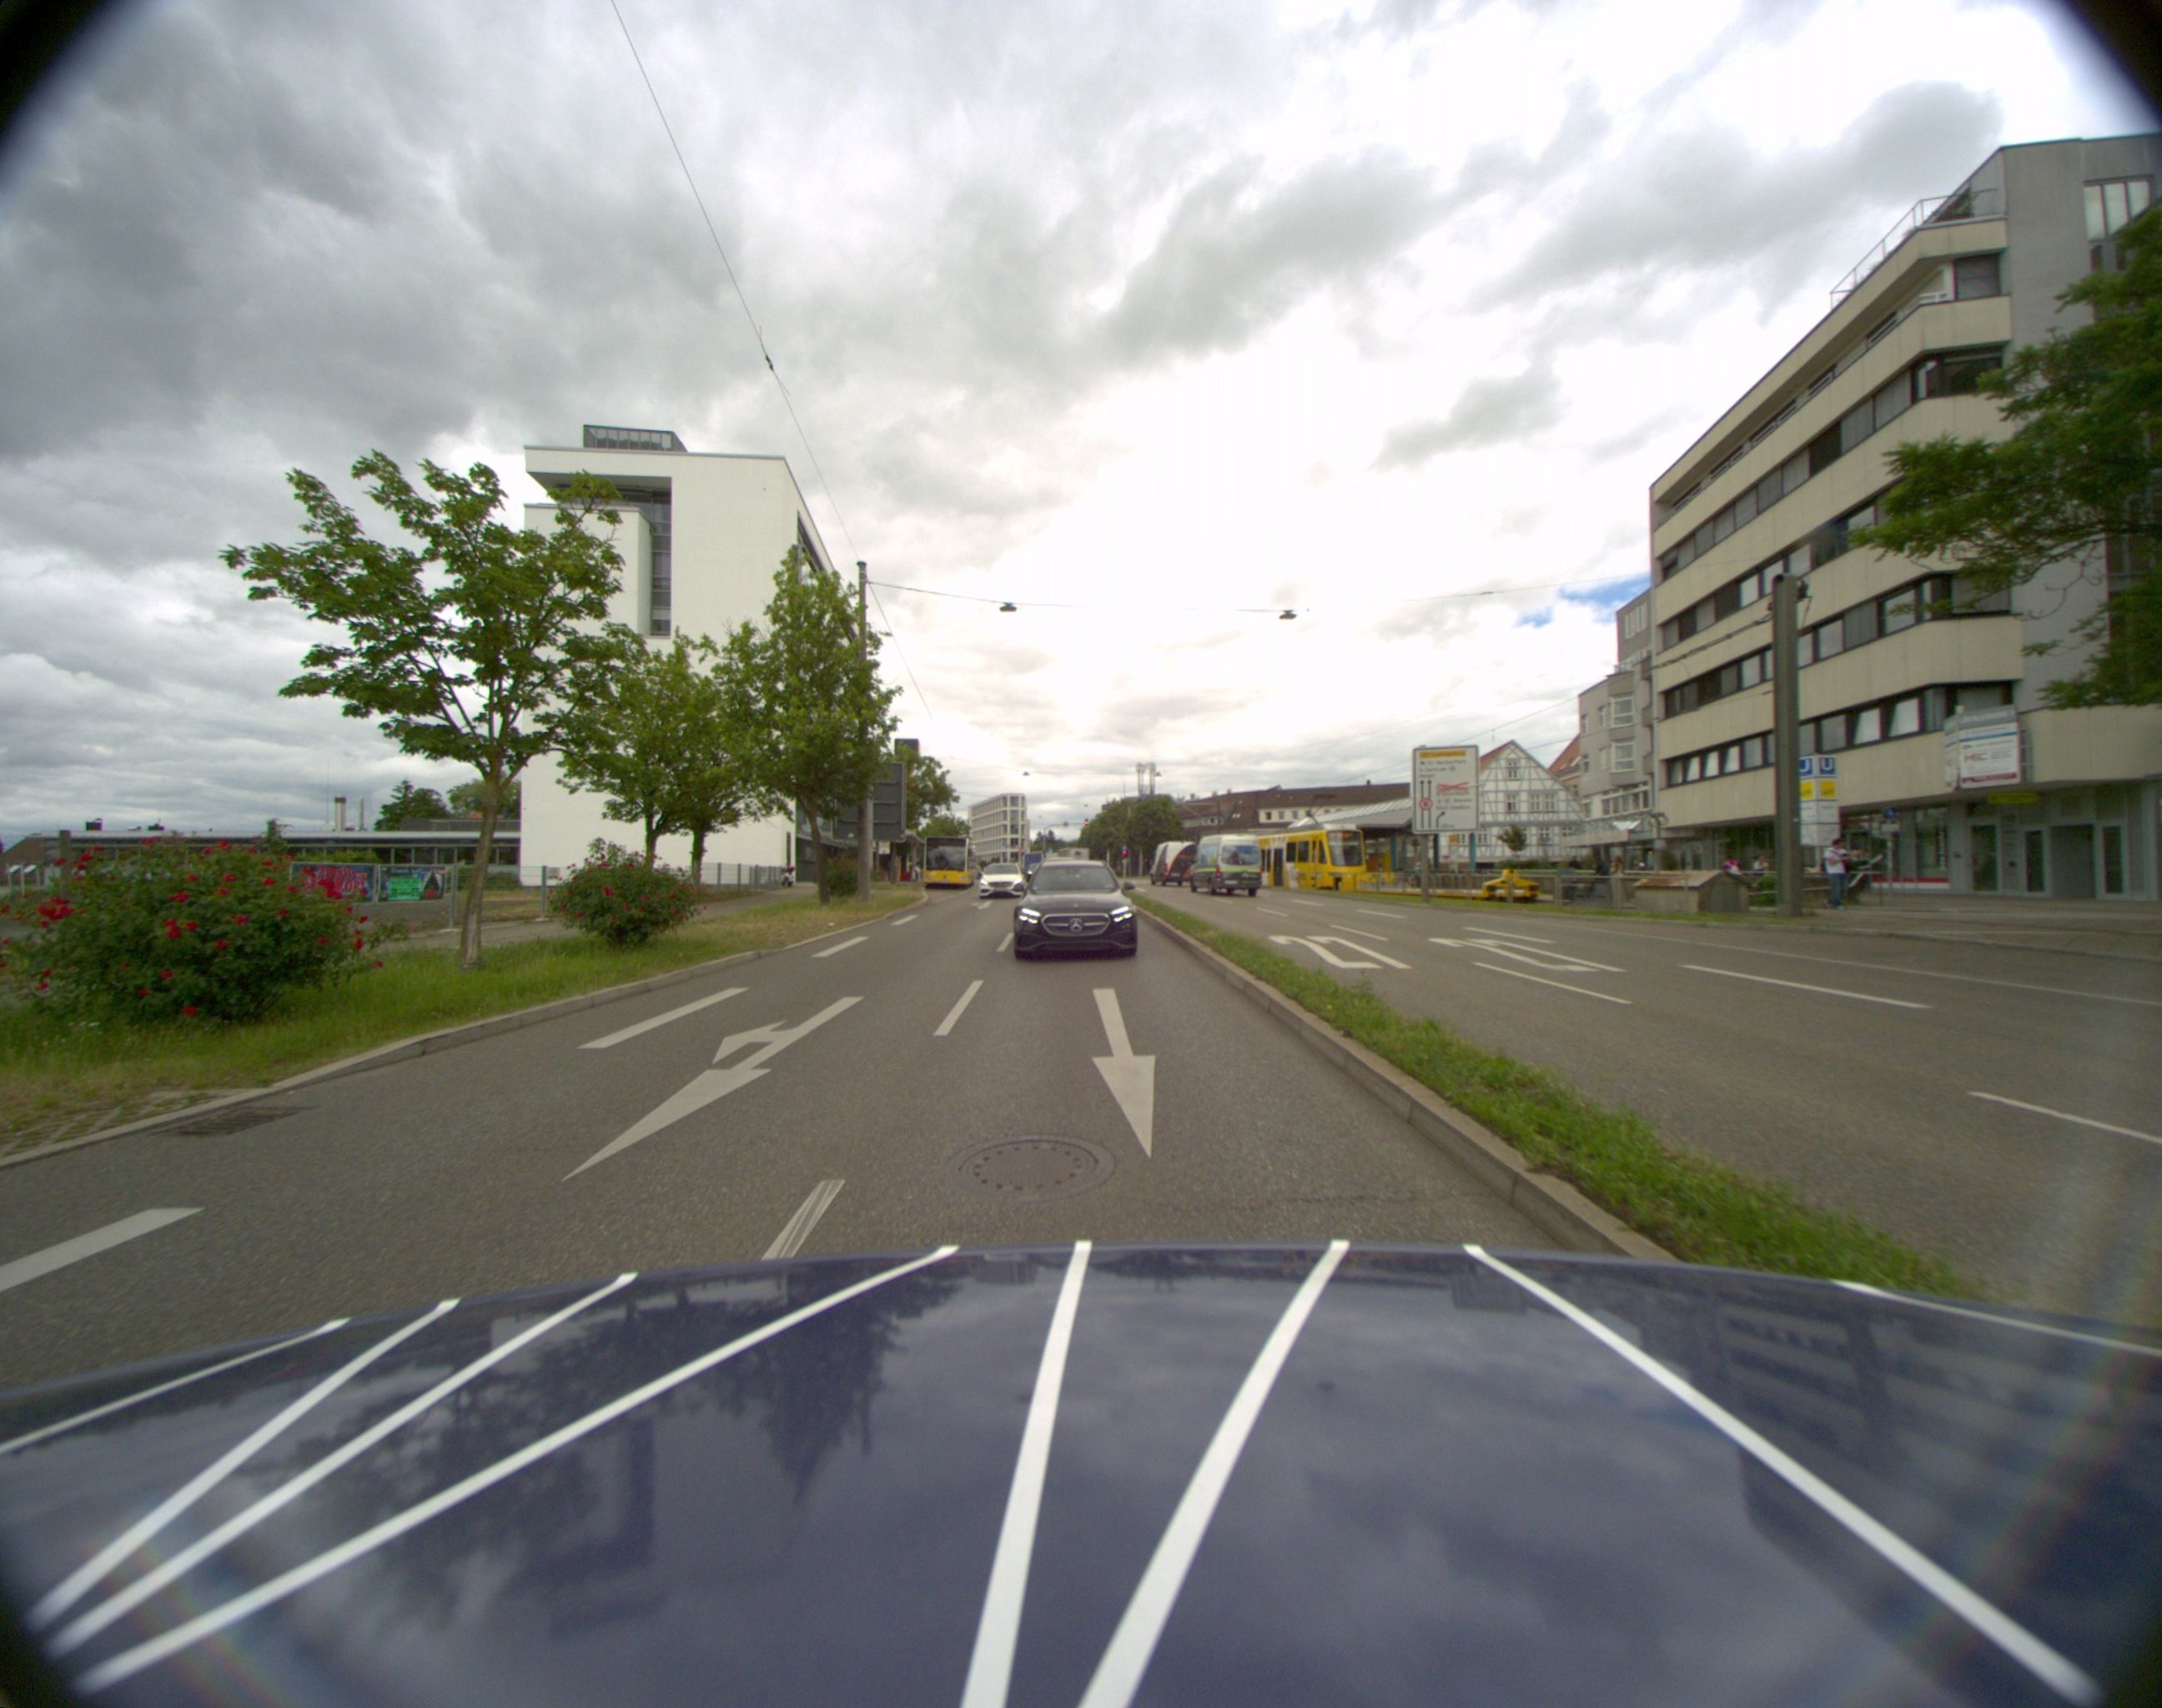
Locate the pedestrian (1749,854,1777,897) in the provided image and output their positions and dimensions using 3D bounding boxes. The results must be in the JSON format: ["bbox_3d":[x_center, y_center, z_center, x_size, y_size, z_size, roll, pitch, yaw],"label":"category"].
[{"bbox_3d":[26.924,0.830,29.995,0.550,1.690,0.628,0,0,-5],"label":"pedestrian"}]

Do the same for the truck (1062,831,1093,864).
[{"bbox_3d":[-0.519,-0.729,97.037,2.947,3.934,9.160,0,-1,-7],"label":"truck"}]

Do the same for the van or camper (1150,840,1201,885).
[{"bbox_3d":[5.730,0.498,46.815,1.999,2.583,6.114,1,0,-3],"label":"van or camper"}]

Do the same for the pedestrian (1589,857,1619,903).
[{"bbox_3d":[17.923,0.876,26.035,0.600,1.564,0.620,0,0,-5],"label":"pedestrian"}]

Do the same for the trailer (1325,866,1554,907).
[{"bbox_3d":[14.469,1.226,32.508,2.850,1.325,12.119,0,0,-7],"label":"trailer"}]

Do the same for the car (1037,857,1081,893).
[{"bbox_3d":[-1.063,1.043,39.008,1.734,1.680,4.370,-1,0,5],"label":"car"}]

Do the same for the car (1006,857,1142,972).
[{"bbox_3d":[-0.136,0.894,13.322,1.872,1.542,4.773,-3,-1,-1],"label":"car"}]

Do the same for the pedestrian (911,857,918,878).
[{"bbox_3d":[-13.813,1.120,62.899,0.510,1.725,0.572,-1,0,-8],"label":"pedestrian"}]

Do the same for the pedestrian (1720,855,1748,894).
[{"bbox_3d":[28.569,0.888,33.229,0.693,1.690,0.628,0,0,-5],"label":"pedestrian"}]

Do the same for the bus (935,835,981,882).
[{"bbox_3d":[-9.013,0.347,56.691,3.045,3.216,9.332,0,0,-7],"label":"bus"}]

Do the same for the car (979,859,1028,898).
[{"bbox_3d":[-3.363,1.007,32.514,1.873,1.496,4.770,-2,-1,-7],"label":"car"}]

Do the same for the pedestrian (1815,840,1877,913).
[{"bbox_3d":[20.093,0.584,19.983,0.746,1.866,0.873,0,0,-3],"label":"pedestrian"}]

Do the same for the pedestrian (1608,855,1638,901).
[{"bbox_3d":[18.669,0.816,26.182,0.600,1.564,0.620,0,0,-5],"label":"pedestrian"}]

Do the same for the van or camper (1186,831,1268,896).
[{"bbox_3d":[6.348,0.405,33.868,2.038,2.583,6.114,1,0,-4],"label":"van or camper"}]

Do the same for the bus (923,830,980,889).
[{"bbox_3d":[-7.860,0.324,47.255,2.992,3.222,9.859,0,0,-7],"label":"bus"}]

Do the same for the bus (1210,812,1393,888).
[{"bbox_3d":[12.854,-0.146,48.220,3.889,3.836,19.330,0,0,-7],"label":"bus"}]

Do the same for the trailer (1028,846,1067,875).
[{"bbox_3d":[-5.386,1.159,118.049,3.114,4.243,14.831,0,-1,-14],"label":"trailer"}]

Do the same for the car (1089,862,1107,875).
[{"bbox_3d":[1.870,1.630,84.820,1.510,1.337,3.947,1,-1,-4],"label":"car"}]

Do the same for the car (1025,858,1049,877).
[{"bbox_3d":[-3.622,1.108,63.242,1.735,1.474,4.368,-1,0,0],"label":"car"}]

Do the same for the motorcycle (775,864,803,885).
[{"bbox_3d":[-15.222,1.062,39.556,0.826,1.108,1.737,0,-1,-40],"label":"motorcycle"}]

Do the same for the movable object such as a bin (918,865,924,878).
[{"bbox_3d":[-13.414,1.467,63.564,0.421,1.023,0.532,-1,0,-8],"label":"movable object such as a bin"}]
